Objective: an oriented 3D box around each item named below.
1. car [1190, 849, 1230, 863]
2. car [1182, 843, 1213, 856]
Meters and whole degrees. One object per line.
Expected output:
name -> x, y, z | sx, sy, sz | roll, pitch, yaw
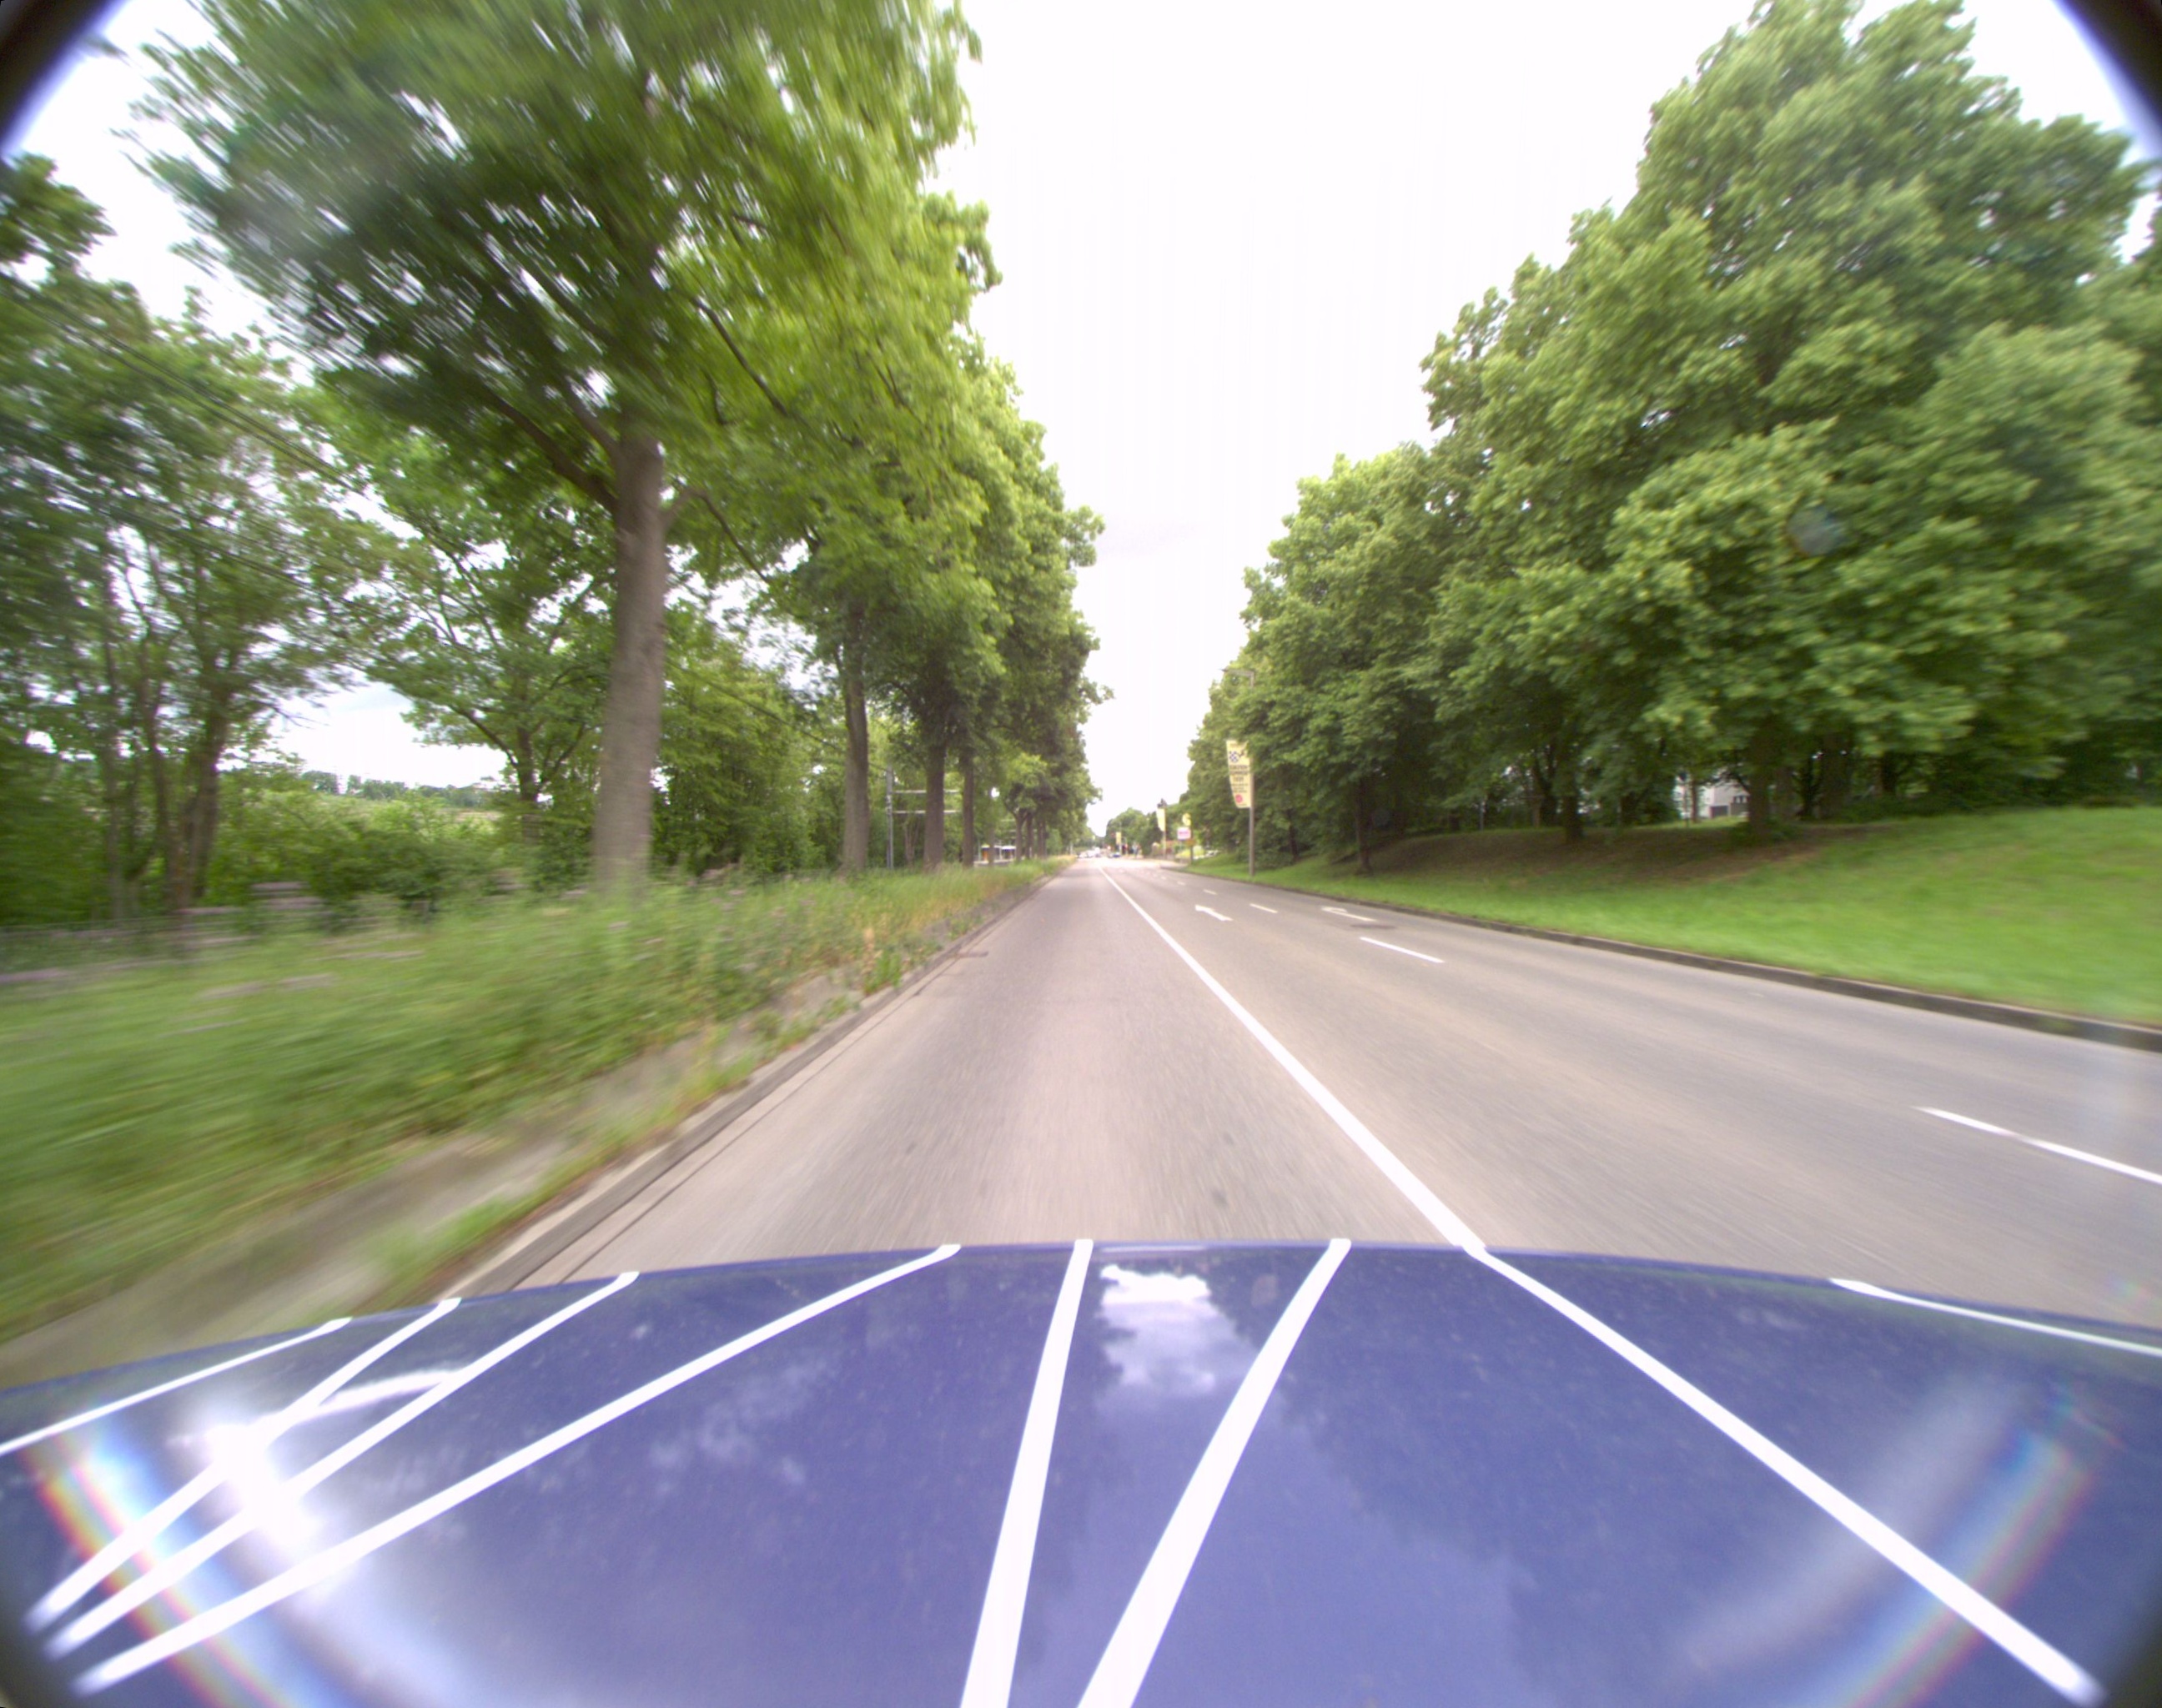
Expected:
car -> 14.816, 0.232, 87.260 | 4.220, 1.483, 1.749 | -2, -1, -3
car -> 16.076, -0.571, 104.970 | 3.905, 1.608, 1.879 | -2, 1, 0
